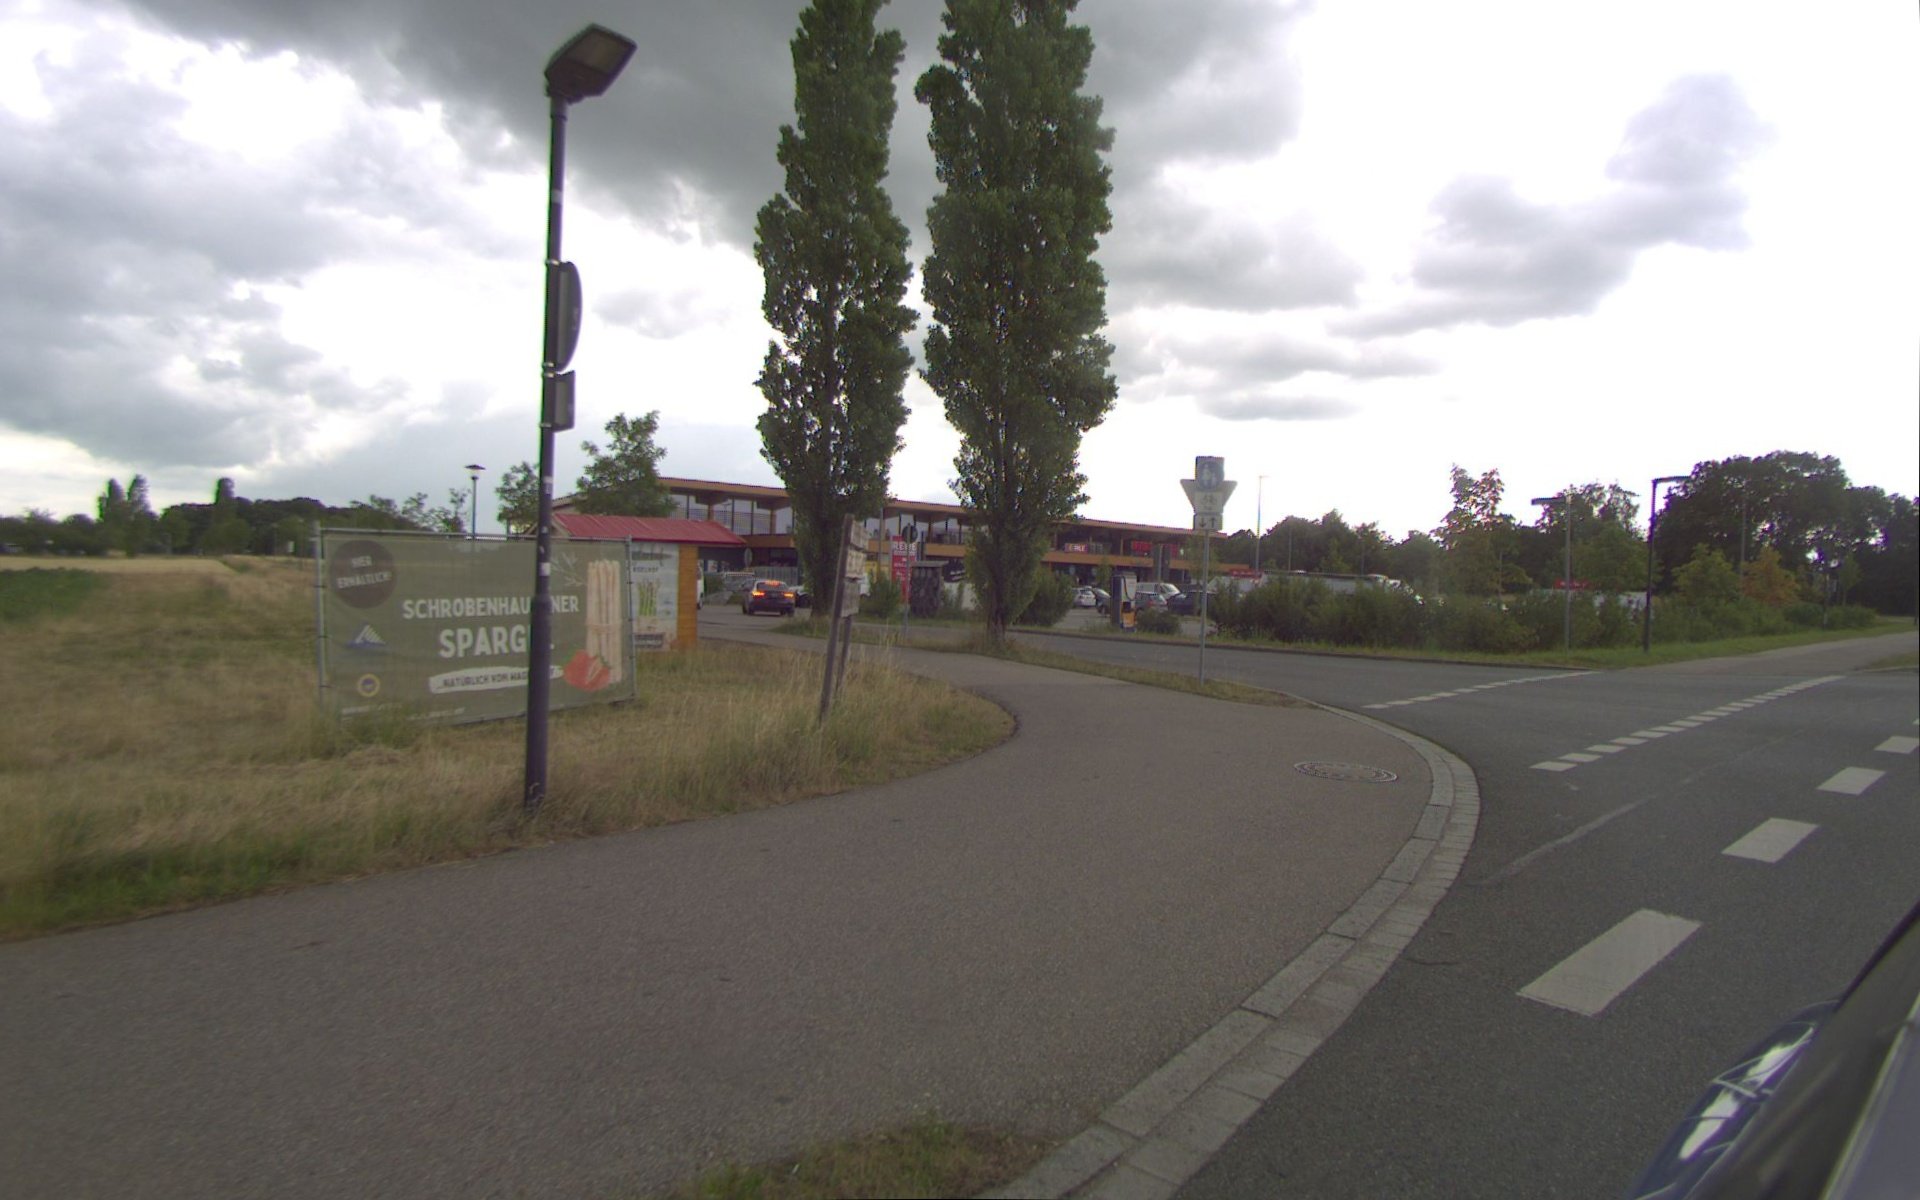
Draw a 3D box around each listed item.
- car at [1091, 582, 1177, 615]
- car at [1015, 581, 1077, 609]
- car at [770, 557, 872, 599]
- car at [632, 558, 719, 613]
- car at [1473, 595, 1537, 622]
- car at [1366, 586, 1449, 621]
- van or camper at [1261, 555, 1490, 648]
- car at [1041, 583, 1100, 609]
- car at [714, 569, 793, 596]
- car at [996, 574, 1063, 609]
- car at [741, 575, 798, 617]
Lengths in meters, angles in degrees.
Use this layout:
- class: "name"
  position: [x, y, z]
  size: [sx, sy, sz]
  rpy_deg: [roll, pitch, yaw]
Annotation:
- class: "car"
  position: [9.198, -0.122, 53.645]
  size: [1.869, 1.450, 4.186]
  rpy_deg: [1, 4, -42]
- class: "car"
  position: [5.685, -0.360, 67.404]
  size: [2.003, 1.627, 3.747]
  rpy_deg: [1, 3, -40]
- class: "car"
  position: [-7.143, -1.134, 51.985]
  size: [4.838, 1.929, 2.116]
  rpy_deg: [2, 3, -18]
- class: "car"
  position: [-11.935, -0.682, 42.808]
  size: [1.963, 2.038, 5.233]
  rpy_deg: [3, 3, 2]
- class: "car"
  position: [37.993, 0.574, 70.594]
  size: [1.723, 1.551, 3.556]
  rpy_deg: [1, 3, -41]
- class: "car"
  position: [27.752, 0.199, 62.859]
  size: [1.962, 1.893, 4.276]
  rpy_deg: [1, 3, -36]
- class: "van or camper"
  position: [13.309, -0.062, 32.891]
  size: [2.242, 2.494, 6.478]
  rpy_deg: [1, 4, -42]
- class: "car"
  position: [7.533, -0.303, 69.181]
  size: [1.761, 1.495, 3.747]
  rpy_deg: [1, 3, -40]
- class: "car"
  position: [-12.043, -1.009, 59.143]
  size: [4.180, 1.365, 1.837]
  rpy_deg: [1, 3, -40]
- class: "car"
  position: [4.410, -0.542, 64.520]
  size: [2.004, 1.934, 3.900]
  rpy_deg: [1, 3, -42]
- class: "car"
  position: [-7.686, -0.201, 40.520]
  size: [1.793, 1.405, 4.399]
  rpy_deg: [2, 3, -16]
